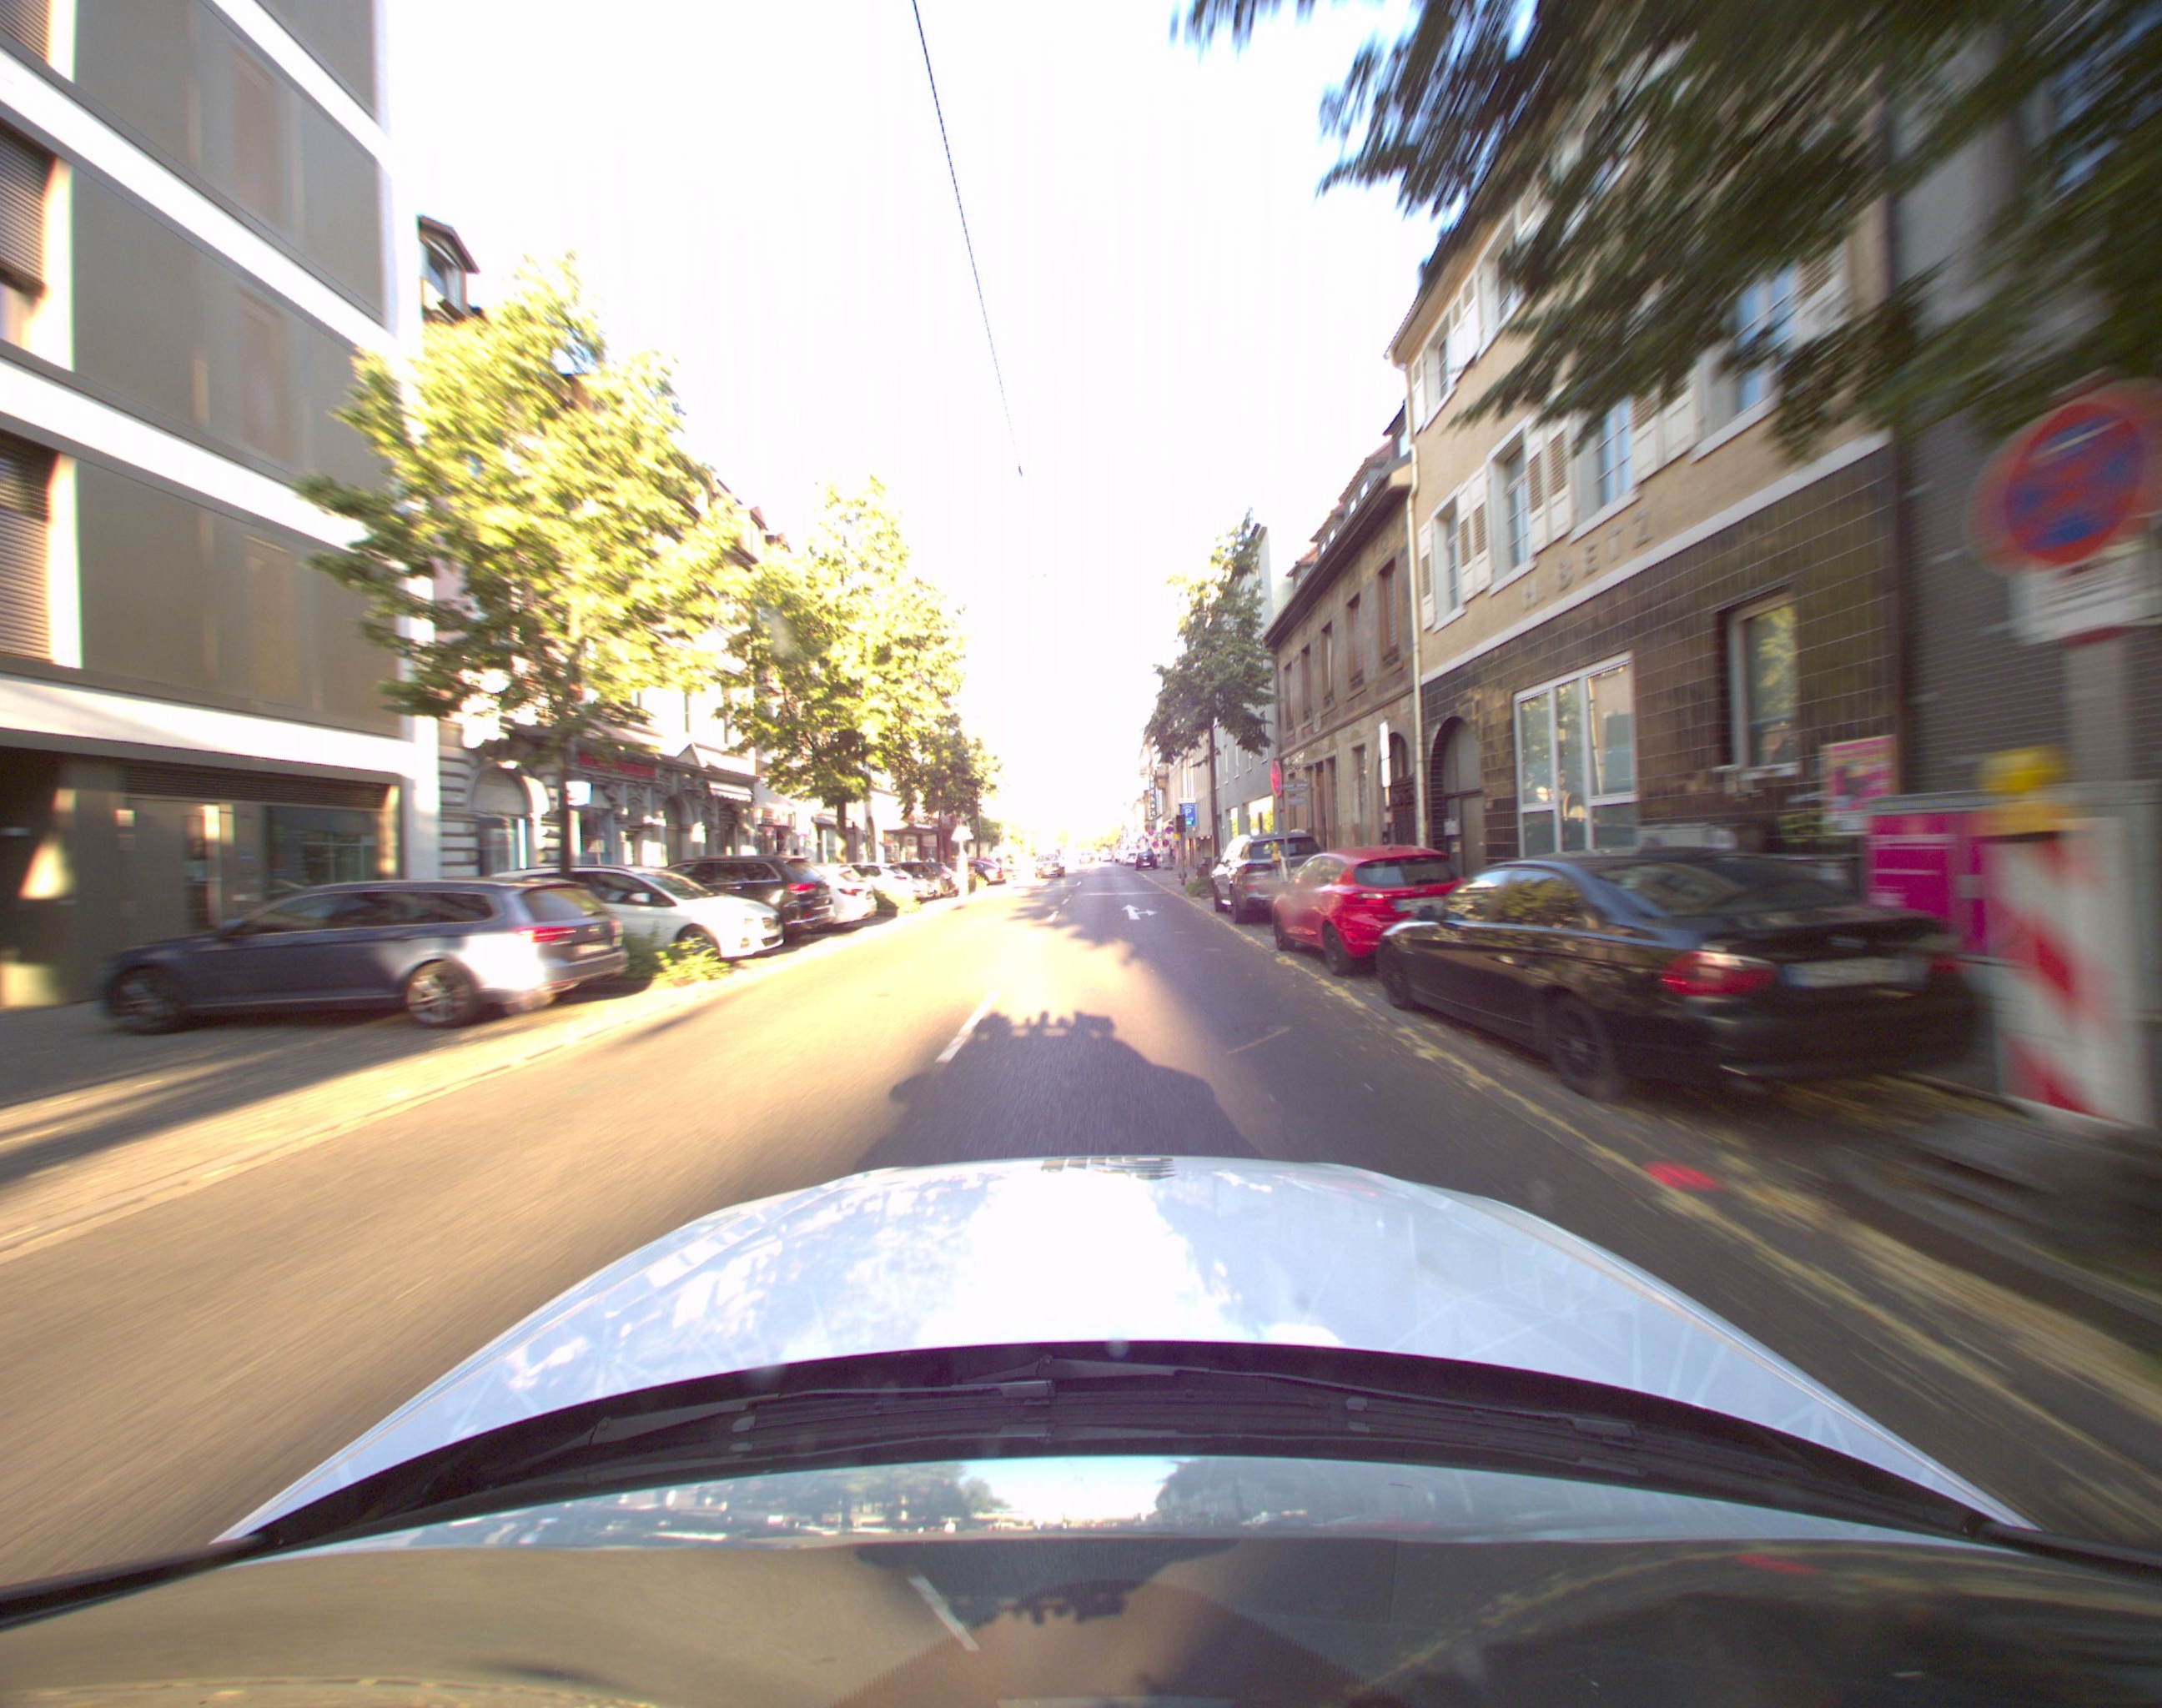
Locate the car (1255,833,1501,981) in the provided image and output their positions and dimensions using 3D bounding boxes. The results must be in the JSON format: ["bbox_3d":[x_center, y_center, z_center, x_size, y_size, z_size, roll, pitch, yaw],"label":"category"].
[{"bbox_3d":[3.677,0.573,10.884,1.724,1.487,3.898,-4,0,-1],"label":"car"}]

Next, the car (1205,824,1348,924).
[{"bbox_3d":[4.017,0.362,17.632,2.031,1.737,4.714,-4,0,2],"label":"car"}]

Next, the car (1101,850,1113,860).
[{"bbox_3d":[4.249,0.205,132.271,1.890,1.581,4.001,-1,0,1],"label":"car"}]

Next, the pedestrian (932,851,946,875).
[{"bbox_3d":[-9.595,0.621,55.059,0.769,1.608,0.876,-1,-2,2],"label":"pedestrian"}]

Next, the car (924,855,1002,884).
[{"bbox_3d":[-6.611,0.836,45.971,4.058,1.536,1.885,-1,0,1],"label":"car"}]

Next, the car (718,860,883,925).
[{"bbox_3d":[-6.991,0.936,20.555,3.545,1.502,1.716,-1,0,0],"label":"car"}]

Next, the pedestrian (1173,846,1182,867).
[{"bbox_3d":[7.598,0.217,64.020,0.602,1.599,0.774,-2,0,0],"label":"pedestrian"}]

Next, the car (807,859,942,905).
[{"bbox_3d":[-7.046,0.944,28.083,4.080,1.403,1.844,-2,0,2],"label":"car"}]

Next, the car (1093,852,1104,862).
[{"bbox_3d":[3.198,0.524,145.655,1.890,1.581,3.852,1,0,1],"label":"car"}]

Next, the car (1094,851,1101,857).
[{"bbox_3d":[4.882,-0.032,240.750,1.773,1.547,4.000,-2,0,1],"label":"car"}]

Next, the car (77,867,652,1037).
[{"bbox_3d":[-7.432,0.961,8.831,4.536,1.484,1.743,-2,0,-2],"label":"car"}]

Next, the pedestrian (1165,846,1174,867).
[{"bbox_3d":[6.948,0.212,63.903,0.602,1.599,0.774,-2,0,0],"label":"pedestrian"}]

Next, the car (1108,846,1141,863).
[{"bbox_3d":[4.861,0.055,91.548,2.001,1.761,4.434,-2,0,-21],"label":"car"}]

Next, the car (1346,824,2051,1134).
[{"bbox_3d":[3.803,0.608,6.259,1.946,1.390,4.422,-4,0,-1],"label":"car"}]

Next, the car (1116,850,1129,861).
[{"bbox_3d":[5.953,0.204,117.941,1.723,1.650,4.285,-1,0,1],"label":"car"}]

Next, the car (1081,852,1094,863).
[{"bbox_3d":[0.988,0.493,126.078,1.890,1.649,4.105,-2,0,1],"label":"car"}]

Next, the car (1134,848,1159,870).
[{"bbox_3d":[5.218,0.379,65.345,1.752,1.536,4.003,-5,0,2],"label":"car"}]

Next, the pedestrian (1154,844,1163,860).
[{"bbox_3d":[8.526,-0.235,89.310,0.770,1.711,1.042,-4,0,1],"label":"pedestrian"}]

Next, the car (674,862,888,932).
[{"bbox_3d":[-6.654,0.931,18.399,4.137,1.421,1.766,-1,0,-1],"label":"car"}]

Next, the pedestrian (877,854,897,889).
[{"bbox_3d":[-9.809,0.890,41.273,0.769,1.721,0.876,-1,-2,2],"label":"pedestrian"}]

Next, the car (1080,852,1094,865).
[{"bbox_3d":[0.882,0.632,114.472,1.890,1.649,4.105,-2,0,1],"label":"car"}]

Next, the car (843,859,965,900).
[{"bbox_3d":[-6.517,0.919,30.296,4.095,1.403,1.883,-1,0,-1],"label":"car"}]

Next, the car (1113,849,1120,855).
[{"bbox_3d":[10.196,-0.566,236.887,1.890,1.581,3.852,-3,0,1],"label":"car"}]

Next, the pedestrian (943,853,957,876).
[{"bbox_3d":[-8.886,0.709,55.206,0.731,1.528,0.876,-1,-2,2],"label":"pedestrian"}]

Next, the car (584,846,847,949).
[{"bbox_3d":[-6.846,0.784,15.609,4.137,1.773,1.889,-1,0,-1],"label":"car"}]

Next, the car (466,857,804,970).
[{"bbox_3d":[-7.053,0.905,13.243,4.391,1.596,1.890,-1,1,0],"label":"car"}]

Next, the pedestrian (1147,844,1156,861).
[{"bbox_3d":[7.737,-0.188,89.311,0.770,1.827,1.011,-4,0,1],"label":"pedestrian"}]

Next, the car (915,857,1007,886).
[{"bbox_3d":[-6.271,0.916,42.915,4.556,1.407,1.821,-1,0,-1],"label":"car"}]

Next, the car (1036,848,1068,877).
[{"bbox_3d":[-1.877,0.519,54.337,1.855,1.692,4.462,-2,1,1],"label":"car"}]

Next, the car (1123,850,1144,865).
[{"bbox_3d":[5.373,0.399,83.985,1.753,1.536,4.820,0,-1,0],"label":"car"}]

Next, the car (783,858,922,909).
[{"bbox_3d":[-6.941,0.879,25.050,3.728,1.444,1.805,-1,0,-2],"label":"car"}]
